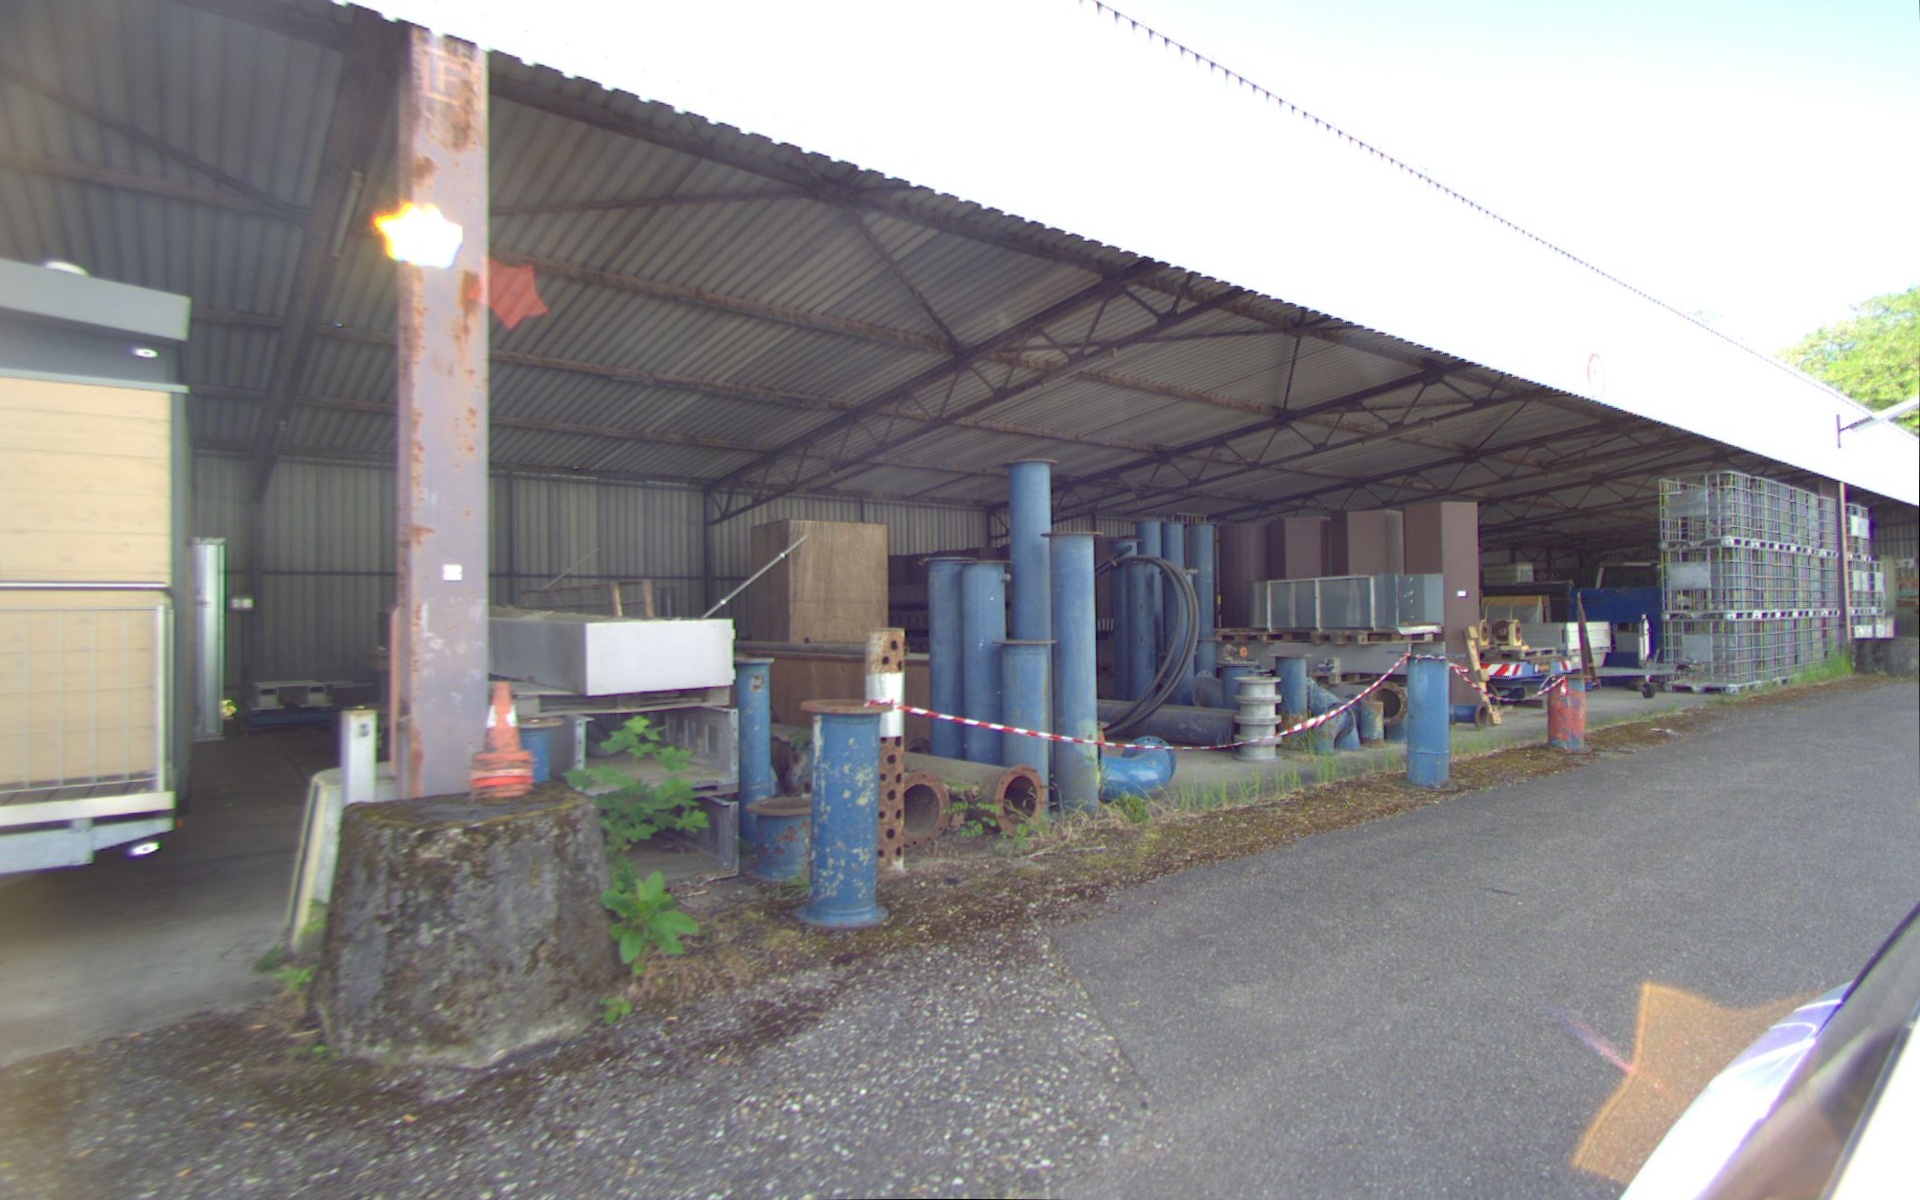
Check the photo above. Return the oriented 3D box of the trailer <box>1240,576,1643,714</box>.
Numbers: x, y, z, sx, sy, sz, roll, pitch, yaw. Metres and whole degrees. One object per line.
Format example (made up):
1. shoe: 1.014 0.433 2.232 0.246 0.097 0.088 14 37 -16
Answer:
1. trailer: 6.715 0.574 14.644 1.993 1.649 4.877 0 -1 -39

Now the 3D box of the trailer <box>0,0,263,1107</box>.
1. trailer: -6.491 -0.074 6.457 2.802 3.257 10.060 0 -1 -38

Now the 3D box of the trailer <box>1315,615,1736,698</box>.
1. trailer: 9.108 0.834 16.919 1.993 1.134 5.834 0 -1 -39
